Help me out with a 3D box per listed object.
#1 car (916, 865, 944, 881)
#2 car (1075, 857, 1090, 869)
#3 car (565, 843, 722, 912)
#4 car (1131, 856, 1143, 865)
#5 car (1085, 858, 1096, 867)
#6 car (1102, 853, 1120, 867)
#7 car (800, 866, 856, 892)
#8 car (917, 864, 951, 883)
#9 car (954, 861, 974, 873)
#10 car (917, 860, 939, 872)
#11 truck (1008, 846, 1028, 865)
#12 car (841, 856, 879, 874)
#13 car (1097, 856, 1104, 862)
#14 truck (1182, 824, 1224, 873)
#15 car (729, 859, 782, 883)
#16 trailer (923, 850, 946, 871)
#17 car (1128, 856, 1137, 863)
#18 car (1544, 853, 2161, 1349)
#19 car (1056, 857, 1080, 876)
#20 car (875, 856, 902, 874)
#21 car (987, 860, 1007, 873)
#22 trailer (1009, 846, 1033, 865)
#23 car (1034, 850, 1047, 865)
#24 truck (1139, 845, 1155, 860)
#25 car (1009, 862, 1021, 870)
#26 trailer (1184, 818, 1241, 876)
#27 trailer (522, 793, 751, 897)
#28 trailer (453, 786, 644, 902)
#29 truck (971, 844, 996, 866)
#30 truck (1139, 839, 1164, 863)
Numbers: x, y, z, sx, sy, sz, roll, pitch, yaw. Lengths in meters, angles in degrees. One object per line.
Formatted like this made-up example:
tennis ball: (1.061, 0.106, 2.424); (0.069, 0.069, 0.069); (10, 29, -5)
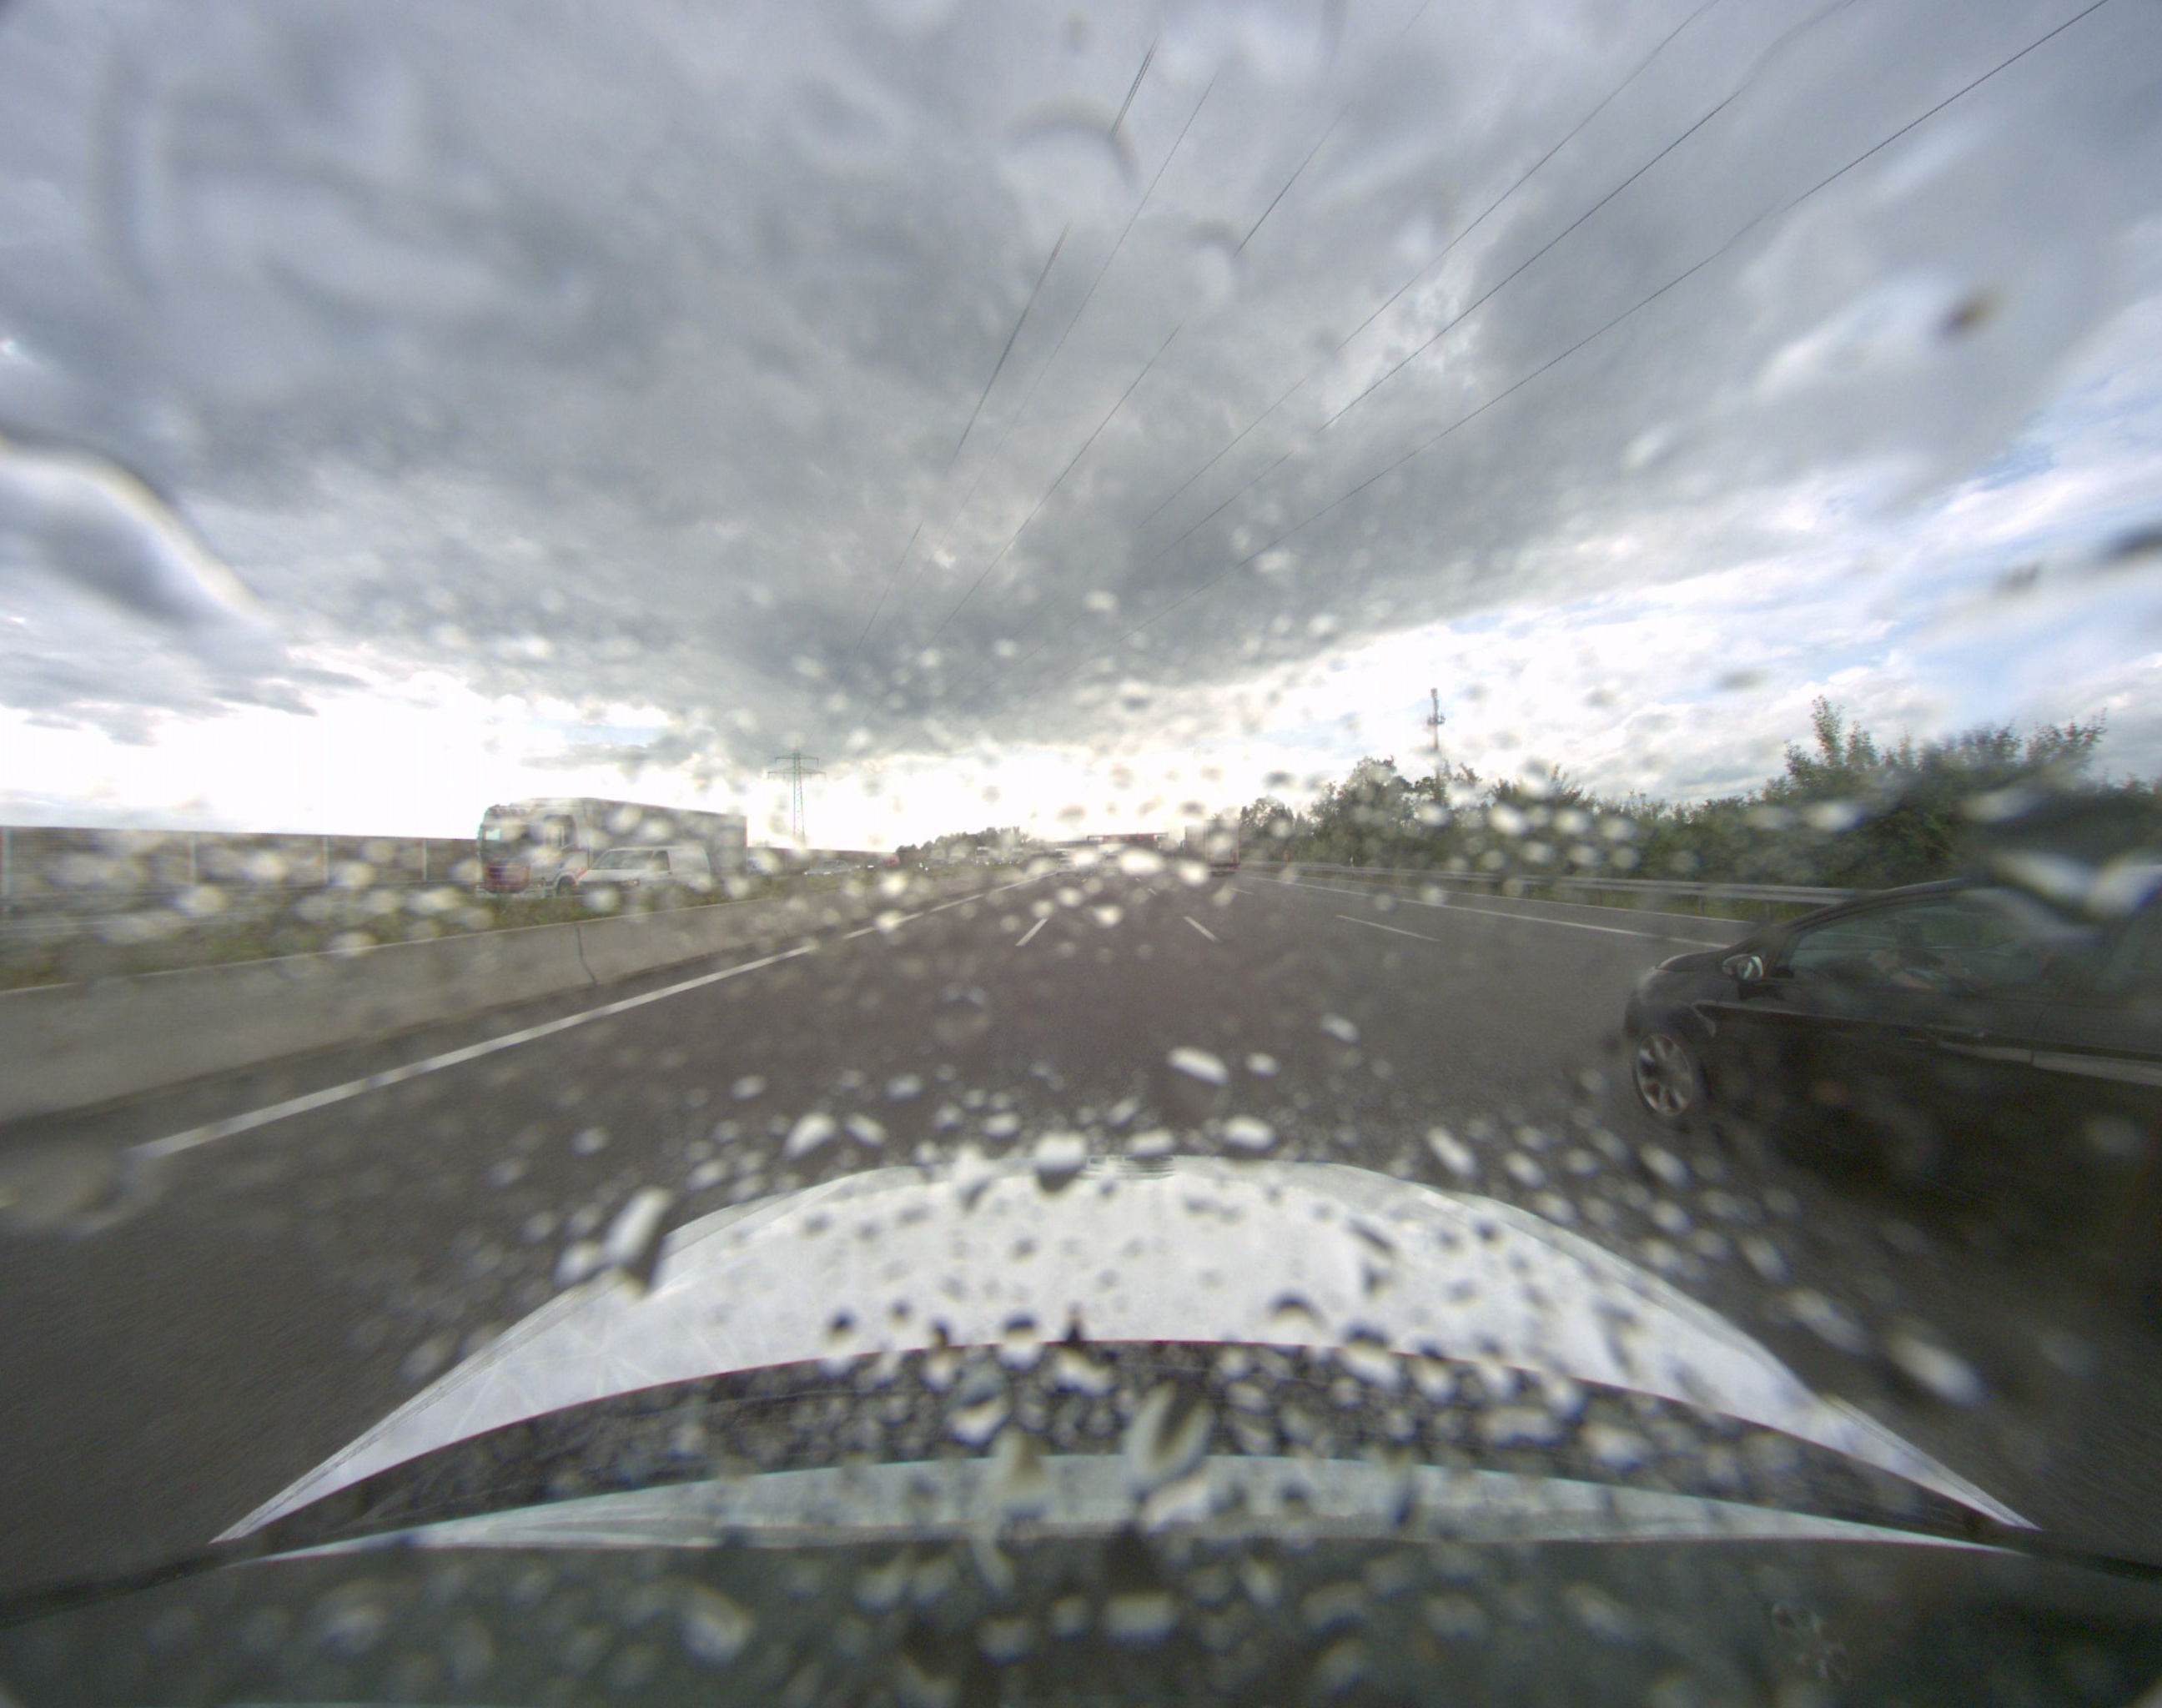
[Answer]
car: (-15.061, 1.861, 81.448); (1.759, 1.454, 4.944); (0, 0, 1)
car: (0.158, 1.064, 100.627); (1.766, 1.441, 4.056); (-1, 0, 1)
car: (-13.151, 0.654, 24.922); (1.916, 1.899, 5.161); (0, 0, 1)
car: (8.971, 1.012, 129.813); (1.828, 1.441, 4.058); (-1, 0, 3)
car: (1.594, 1.391, 133.608); (1.766, 1.441, 4.055); (-1, 0, 1)
car: (3.057, 0.587, 83.590); (1.766, 1.441, 4.056); (-1, 0, 1)
car: (-15.650, 1.505, 50.573); (1.759, 1.537, 5.161); (0, 0, 1)
car: (-12.066, 1.605, 67.079); (1.759, 1.454, 5.086); (0, 0, 1)
car: (-14.384, 1.553, 100.267); (1.759, 1.454, 4.234); (0, 0, 1)
car: (-20.862, 1.572, 111.104); (1.958, 1.595, 4.822); (0, 0, 1)
truck: (-14.037, 0.354, 181.409); (3.645, 4.048, 6.529); (0, 0, 3)
car: (-18.975, 0.924, 70.090); (1.759, 1.454, 4.944); (0, 0, 1)
car: (4.911, 1.220, 207.279); (1.765, 1.441, 4.058); (-1, 0, 3)
truck: (10.418, -0.447, 70.230); (2.949, 4.020, 6.594); (-1, 0, 3)
car: (-23.378, 1.200, 58.710); (1.759, 1.610, 4.944); (0, 0, 1)
trailer: (-20.799, 0.952, 115.990); (2.240, 2.962, 4.901); (0, 0, 1)
car: (11.717, 1.193, 185.532); (1.828, 1.441, 4.058); (-1, 0, 3)
car: (3.858, 0.725, 3.972); (1.442, 1.441, 3.164); (-1, 0, 1)
car: (-1.016, 0.933, 64.594); (1.766, 1.441, 3.875); (-1, 0, 1)
car: (-21.719, 1.257, 92.123); (1.759, 1.967, 4.944); (0, 0, 1)
car: (-10.170, 1.491, 99.346); (1.820, 1.454, 4.944); (0, 0, 1)
trailer: (-13.729, 0.396, 187.672); (3.645, 4.108, 13.409); (0, 0, 3)
car: (-11.506, 0.922, 232.346); (2.971, 4.150, 6.045); (0, -1, 2)
truck: (19.145, -0.360, 235.691); (4.226, 4.176, 11.998); (0, 0, 3)
car: (-12.049, 2.207, 149.658); (1.781, 1.454, 4.566); (0, 0, 1)
trailer: (10.043, -0.491, 63.617); (2.948, 4.020, 14.130); (-1, 0, 3)
trailer: (-20.106, -0.300, 38.572); (3.307, 4.061, 13.290); (0, 0, 1)
trailer: (-20.265, -0.339, 31.539); (3.307, 4.044, 6.080); (0, 0, 1)
truck: (-19.726, 0.256, 165.165); (3.646, 4.319, 8.241); (0, 0, 2)
truck: (13.475, -0.510, 157.234); (4.164, 4.288, 12.619); (0, 0, 2)
